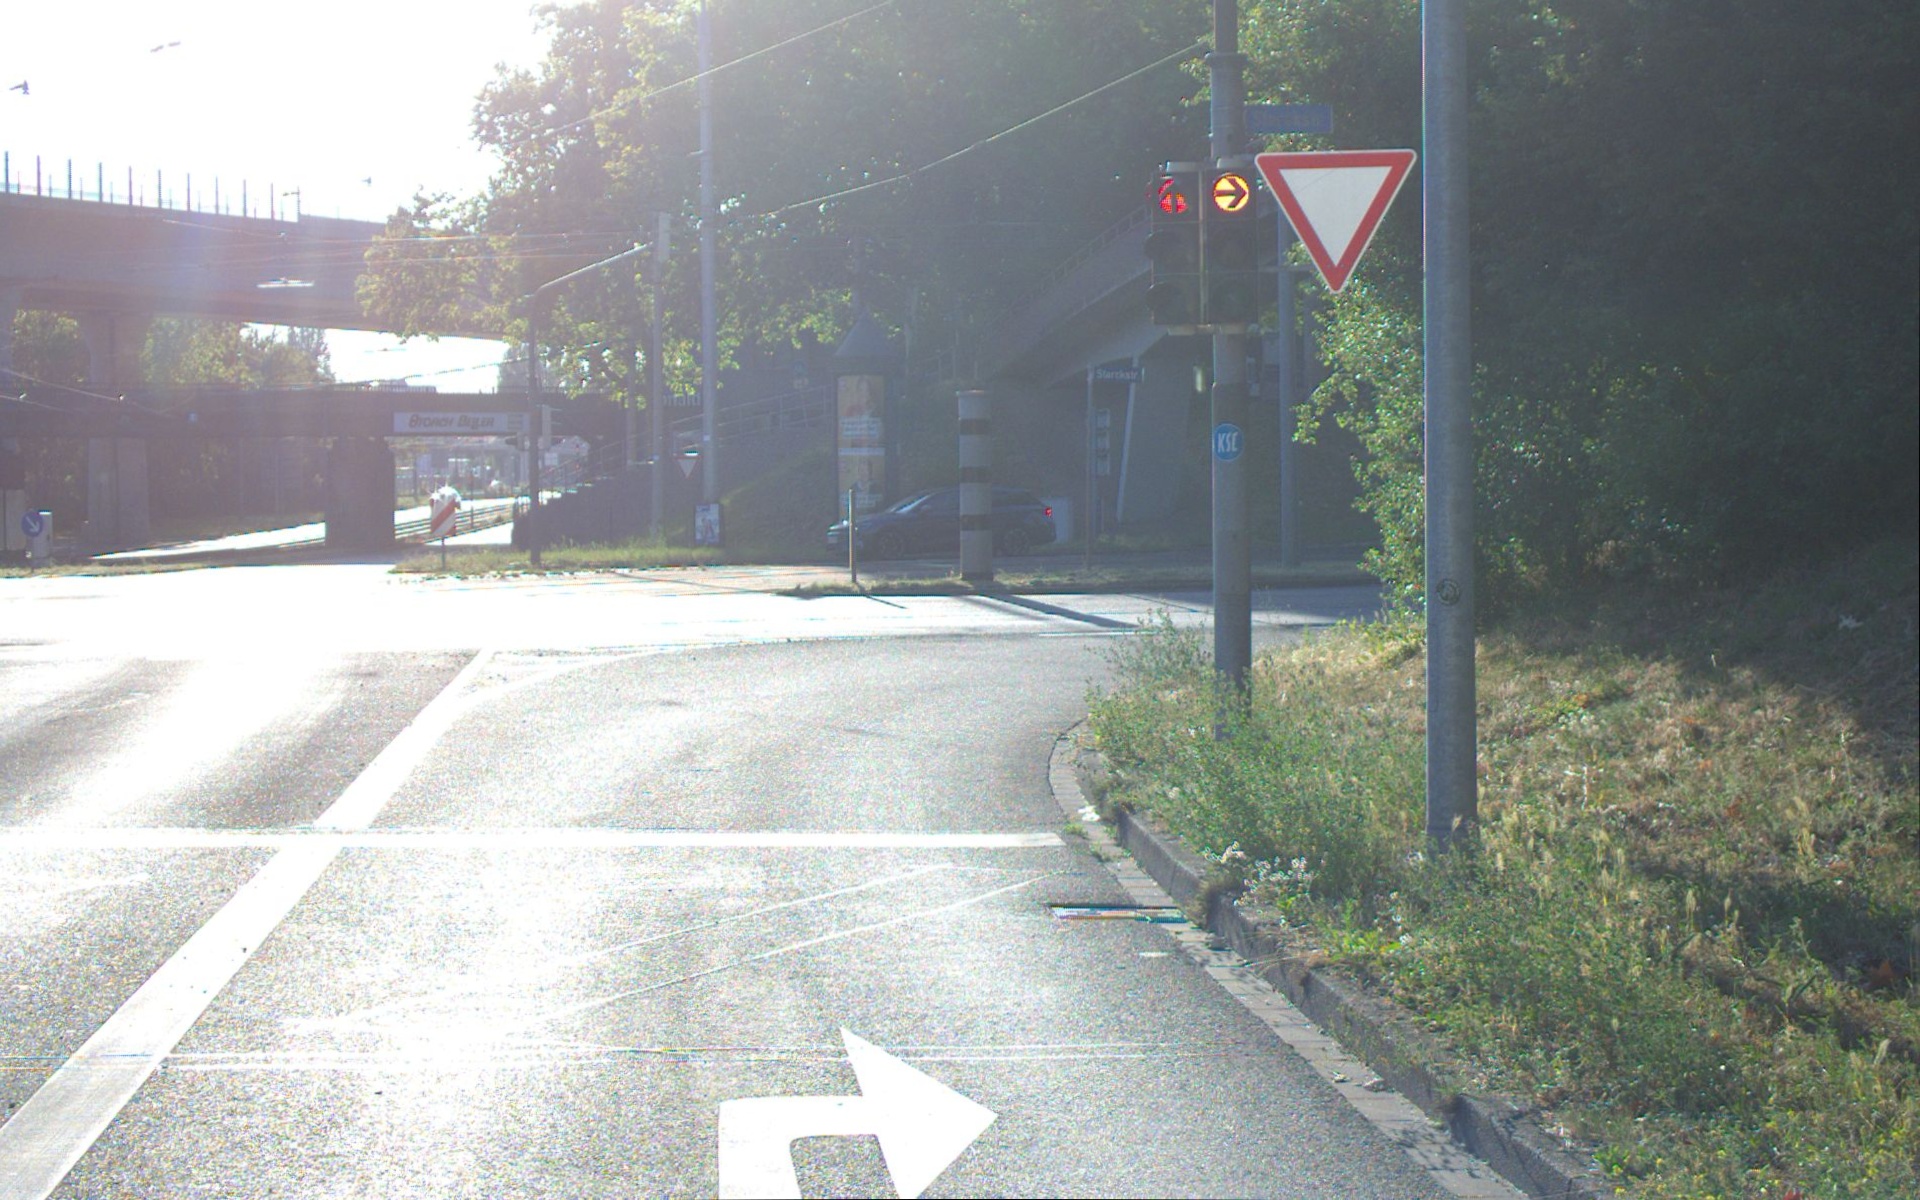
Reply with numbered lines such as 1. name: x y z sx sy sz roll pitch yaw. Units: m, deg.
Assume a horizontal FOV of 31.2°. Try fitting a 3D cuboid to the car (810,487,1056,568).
1. car: -0.538 -1.446 68.131 4.575 1.569 1.694 0 2 -21
